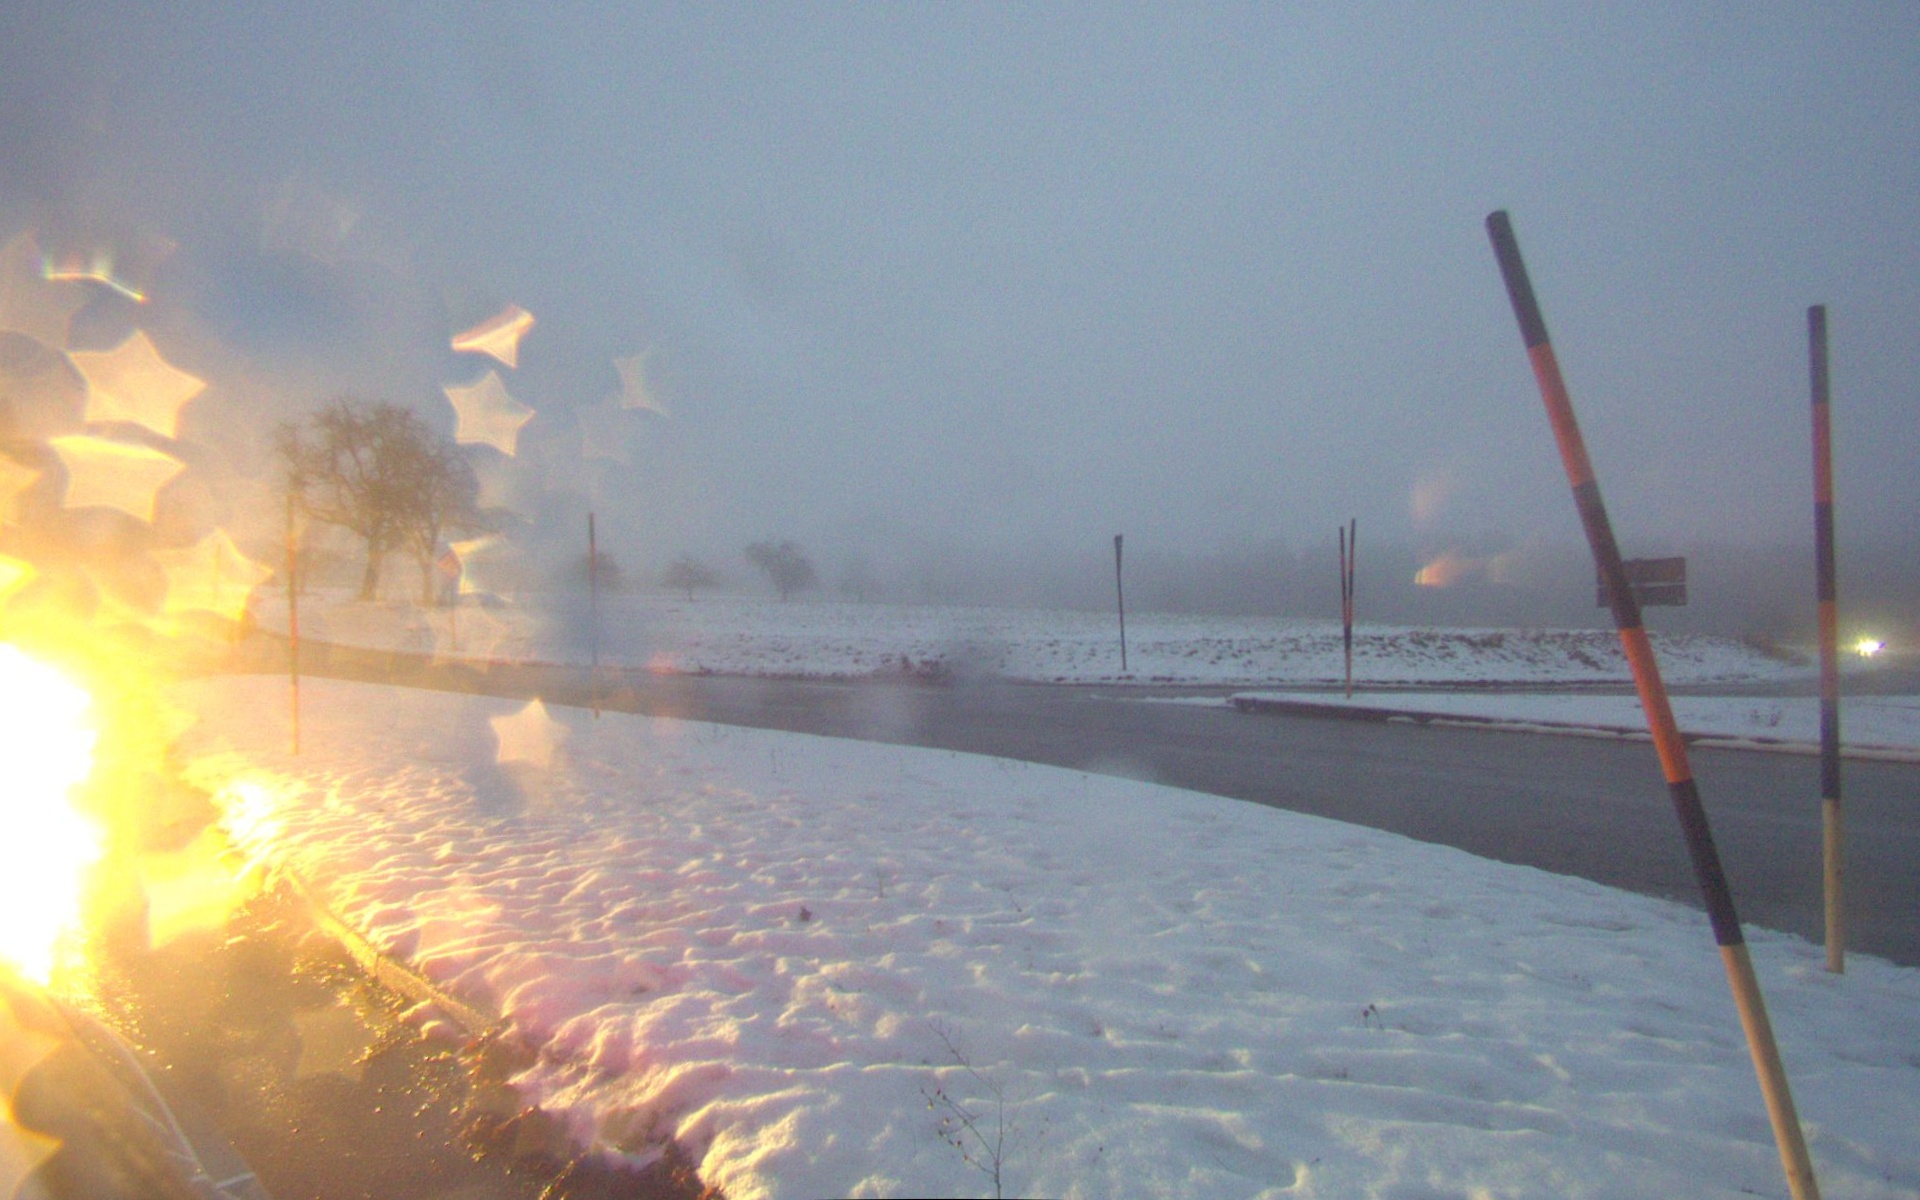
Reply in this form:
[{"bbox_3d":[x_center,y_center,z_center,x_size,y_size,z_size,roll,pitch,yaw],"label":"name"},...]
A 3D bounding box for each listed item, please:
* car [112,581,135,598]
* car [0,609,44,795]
[{"bbox_3d":[-93.582,-1.167,113.214,1.969,1.820,4.006,0,1,-41],"label":"car"},{"bbox_3d":[-9.245,0.823,8.861,1.701,1.445,3.680,-1,0,-44],"label":"car"}]
